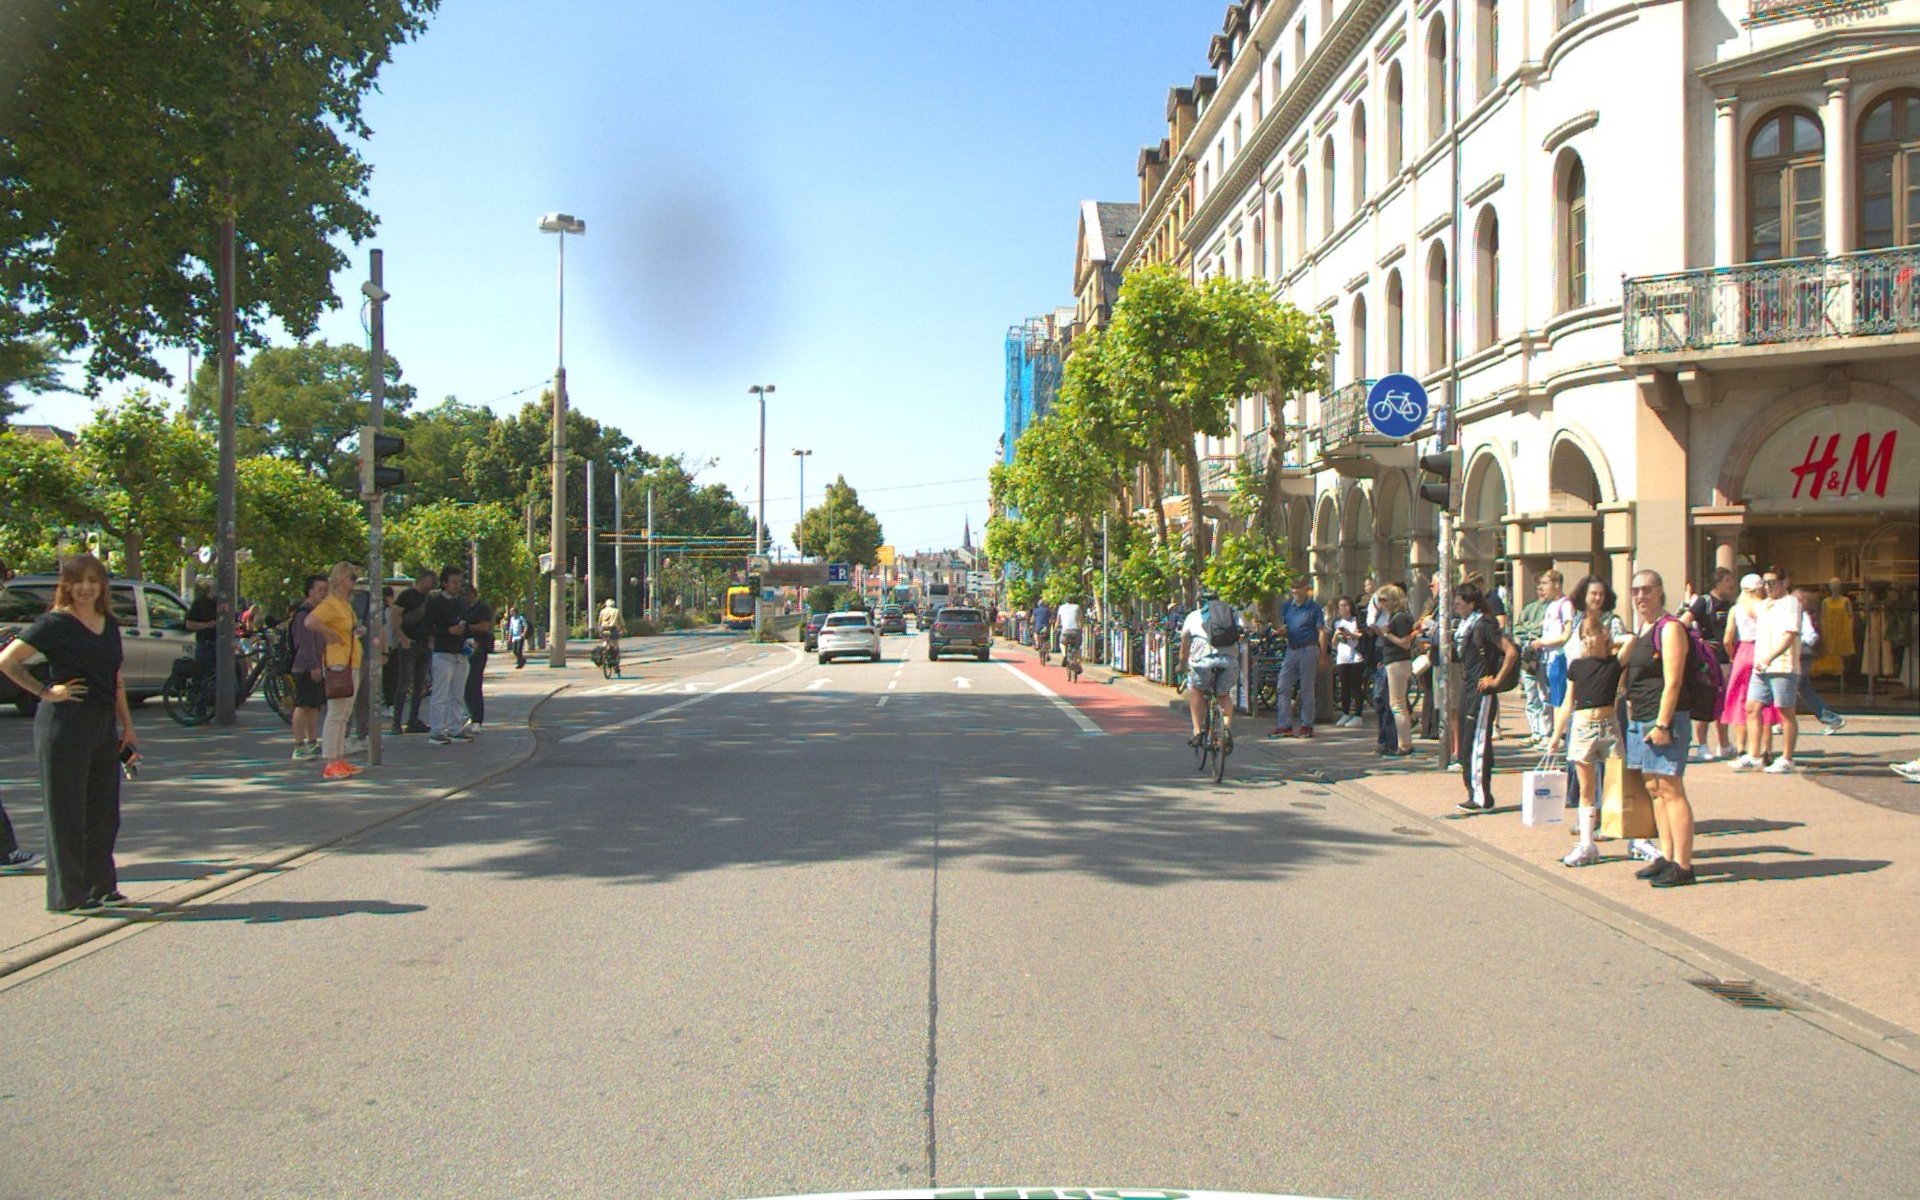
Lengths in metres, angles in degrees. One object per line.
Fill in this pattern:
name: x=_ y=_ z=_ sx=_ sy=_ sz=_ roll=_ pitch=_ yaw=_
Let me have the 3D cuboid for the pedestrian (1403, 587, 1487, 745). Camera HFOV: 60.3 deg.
pedestrian: x=5.458 y=0.733 z=18.627 sx=0.603 sy=1.735 sz=0.671 roll=2 pitch=-2 yaw=-29

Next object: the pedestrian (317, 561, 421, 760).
pedestrian: x=-5.796 y=0.578 z=16.230 sx=0.620 sy=1.891 sz=0.730 roll=0 pitch=-1 yaw=28

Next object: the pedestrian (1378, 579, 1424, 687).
pedestrian: x=7.486 y=0.556 z=28.079 sx=0.615 sy=1.823 sz=0.612 roll=0 pitch=-1 yaw=-1

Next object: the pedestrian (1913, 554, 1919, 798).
pedestrian: x=7.763 y=0.589 z=12.609 sx=0.662 sy=1.888 sz=0.541 roll=0 pitch=-1 yaw=-3

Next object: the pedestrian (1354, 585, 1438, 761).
pedestrian: x=4.371 y=0.725 z=16.595 sx=0.571 sy=1.703 sz=0.605 roll=-3 pitch=-1 yaw=-3

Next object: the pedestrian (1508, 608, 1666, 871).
pedestrian: x=3.889 y=0.841 z=10.301 sx=0.598 sy=1.541 sz=0.677 roll=-4 pitch=-1 yaw=-3

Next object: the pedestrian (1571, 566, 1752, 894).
pedestrian: x=4.060 y=0.730 z=9.614 sx=0.658 sy=1.800 sz=0.677 roll=-3 pitch=-1 yaw=-3

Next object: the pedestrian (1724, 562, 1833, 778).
pedestrian: x=7.138 y=0.596 z=14.446 sx=0.598 sy=1.838 sz=0.677 roll=0 pitch=-1 yaw=-3

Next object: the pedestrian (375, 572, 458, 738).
pedestrian: x=-6.202 y=0.616 z=18.893 sx=0.605 sy=1.855 sz=0.663 roll=0 pitch=-1 yaw=28

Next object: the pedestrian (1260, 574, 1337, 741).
pedestrian: x=4.018 y=0.675 z=19.630 sx=0.674 sy=1.931 sz=0.611 roll=-3 pitch=-1 yaw=25

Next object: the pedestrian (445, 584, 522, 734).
pedestrian: x=-5.507 y=0.672 z=19.115 sx=0.605 sy=1.697 sz=0.591 roll=0 pitch=-1 yaw=28

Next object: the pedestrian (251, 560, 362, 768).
pedestrian: x=-6.121 y=0.586 z=15.501 sx=0.620 sy=1.891 sz=0.730 roll=0 pitch=-1 yaw=28

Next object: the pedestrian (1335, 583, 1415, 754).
pedestrian: x=4.333 y=0.708 z=17.307 sx=0.571 sy=1.729 sz=0.605 roll=-3 pitch=-1 yaw=-3

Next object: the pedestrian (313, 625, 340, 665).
pedestrian: x=-21.697 y=1.527 z=56.629 sx=0.640 sy=1.359 sz=0.712 roll=0 pitch=-1 yaw=0

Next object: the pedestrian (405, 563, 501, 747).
pedestrian: x=-5.308 y=0.565 z=17.327 sx=0.620 sy=1.866 sz=0.730 roll=0 pitch=-1 yaw=28

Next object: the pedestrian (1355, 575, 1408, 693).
pedestrian: x=6.544 y=0.525 z=25.713 sx=0.662 sy=1.823 sz=0.612 roll=0 pitch=-1 yaw=-1

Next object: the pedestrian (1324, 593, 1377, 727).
pedestrian: x=4.880 y=0.737 z=20.656 sx=0.519 sy=1.622 sz=0.611 roll=0 pitch=2 yaw=25

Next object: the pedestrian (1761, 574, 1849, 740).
pedestrian: x=9.328 y=0.621 z=18.274 sx=0.598 sy=1.794 sz=0.677 roll=0 pitch=-1 yaw=-3

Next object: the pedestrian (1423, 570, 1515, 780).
pedestrian: x=4.598 y=0.668 z=14.957 sx=0.598 sy=1.855 sz=0.677 roll=0 pitch=-1 yaw=-3

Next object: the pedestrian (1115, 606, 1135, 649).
pedestrian: x=6.172 y=1.013 z=61.937 sx=0.662 sy=1.600 sz=0.611 roll=0 pitch=-1 yaw=-3

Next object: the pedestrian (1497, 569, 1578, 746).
pedestrian: x=6.133 y=0.603 z=17.582 sx=0.598 sy=1.838 sz=0.677 roll=0 pitch=-1 yaw=-3

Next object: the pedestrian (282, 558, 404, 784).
pedestrian: x=-5.147 y=0.574 z=13.819 sx=0.619 sy=1.826 sz=0.731 roll=0 pitch=-1 yaw=20

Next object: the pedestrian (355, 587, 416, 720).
pedestrian: x=-7.697 y=0.708 z=22.184 sx=0.598 sy=1.755 sz=0.677 roll=0 pitch=-1 yaw=-3

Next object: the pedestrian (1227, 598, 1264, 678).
pedestrian: x=6.100 y=0.805 z=35.338 sx=0.662 sy=1.694 sz=0.611 roll=0 pitch=-1 yaw=-3

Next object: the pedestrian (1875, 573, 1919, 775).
pedestrian: x=8.137 y=0.603 z=13.789 sx=0.598 sy=1.647 sz=0.677 roll=0 pitch=1 yaw=-3

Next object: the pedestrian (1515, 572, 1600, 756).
pedestrian: x=6.082 y=0.642 z=16.860 sx=0.598 sy=1.838 sz=0.677 roll=0 pitch=-1 yaw=-3

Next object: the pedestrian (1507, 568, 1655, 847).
pedestrian: x=4.199 y=0.708 z=11.216 sx=0.598 sy=1.790 sz=0.677 roll=-4 pitch=-1 yaw=-3

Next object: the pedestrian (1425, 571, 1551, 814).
pedestrian: x=4.042 y=0.695 z=12.691 sx=0.598 sy=1.769 sz=0.677 roll=-4 pitch=-1 yaw=-3

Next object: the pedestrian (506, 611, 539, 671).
pedestrian: x=-12.173 y=1.139 z=46.028 sx=0.755 sy=1.657 sz=0.611 roll=0 pitch=-1 yaw=-2

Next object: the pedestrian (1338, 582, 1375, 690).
pedestrian: x=6.722 y=0.606 z=28.028 sx=0.467 sy=1.823 sz=0.612 roll=0 pitch=-1 yaw=-1

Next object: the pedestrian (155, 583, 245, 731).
pedestrian: x=-9.426 y=0.695 z=20.518 sx=0.665 sy=1.795 sz=0.765 roll=0 pitch=-1 yaw=28

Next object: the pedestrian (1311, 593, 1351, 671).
pedestrian: x=7.695 y=0.657 z=34.315 sx=0.662 sy=1.600 sz=0.611 roll=0 pitch=-1 yaw=-3

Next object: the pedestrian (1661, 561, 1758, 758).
pedestrian: x=7.212 y=0.562 z=15.934 sx=0.598 sy=1.855 sz=0.677 roll=0 pitch=-1 yaw=-3
